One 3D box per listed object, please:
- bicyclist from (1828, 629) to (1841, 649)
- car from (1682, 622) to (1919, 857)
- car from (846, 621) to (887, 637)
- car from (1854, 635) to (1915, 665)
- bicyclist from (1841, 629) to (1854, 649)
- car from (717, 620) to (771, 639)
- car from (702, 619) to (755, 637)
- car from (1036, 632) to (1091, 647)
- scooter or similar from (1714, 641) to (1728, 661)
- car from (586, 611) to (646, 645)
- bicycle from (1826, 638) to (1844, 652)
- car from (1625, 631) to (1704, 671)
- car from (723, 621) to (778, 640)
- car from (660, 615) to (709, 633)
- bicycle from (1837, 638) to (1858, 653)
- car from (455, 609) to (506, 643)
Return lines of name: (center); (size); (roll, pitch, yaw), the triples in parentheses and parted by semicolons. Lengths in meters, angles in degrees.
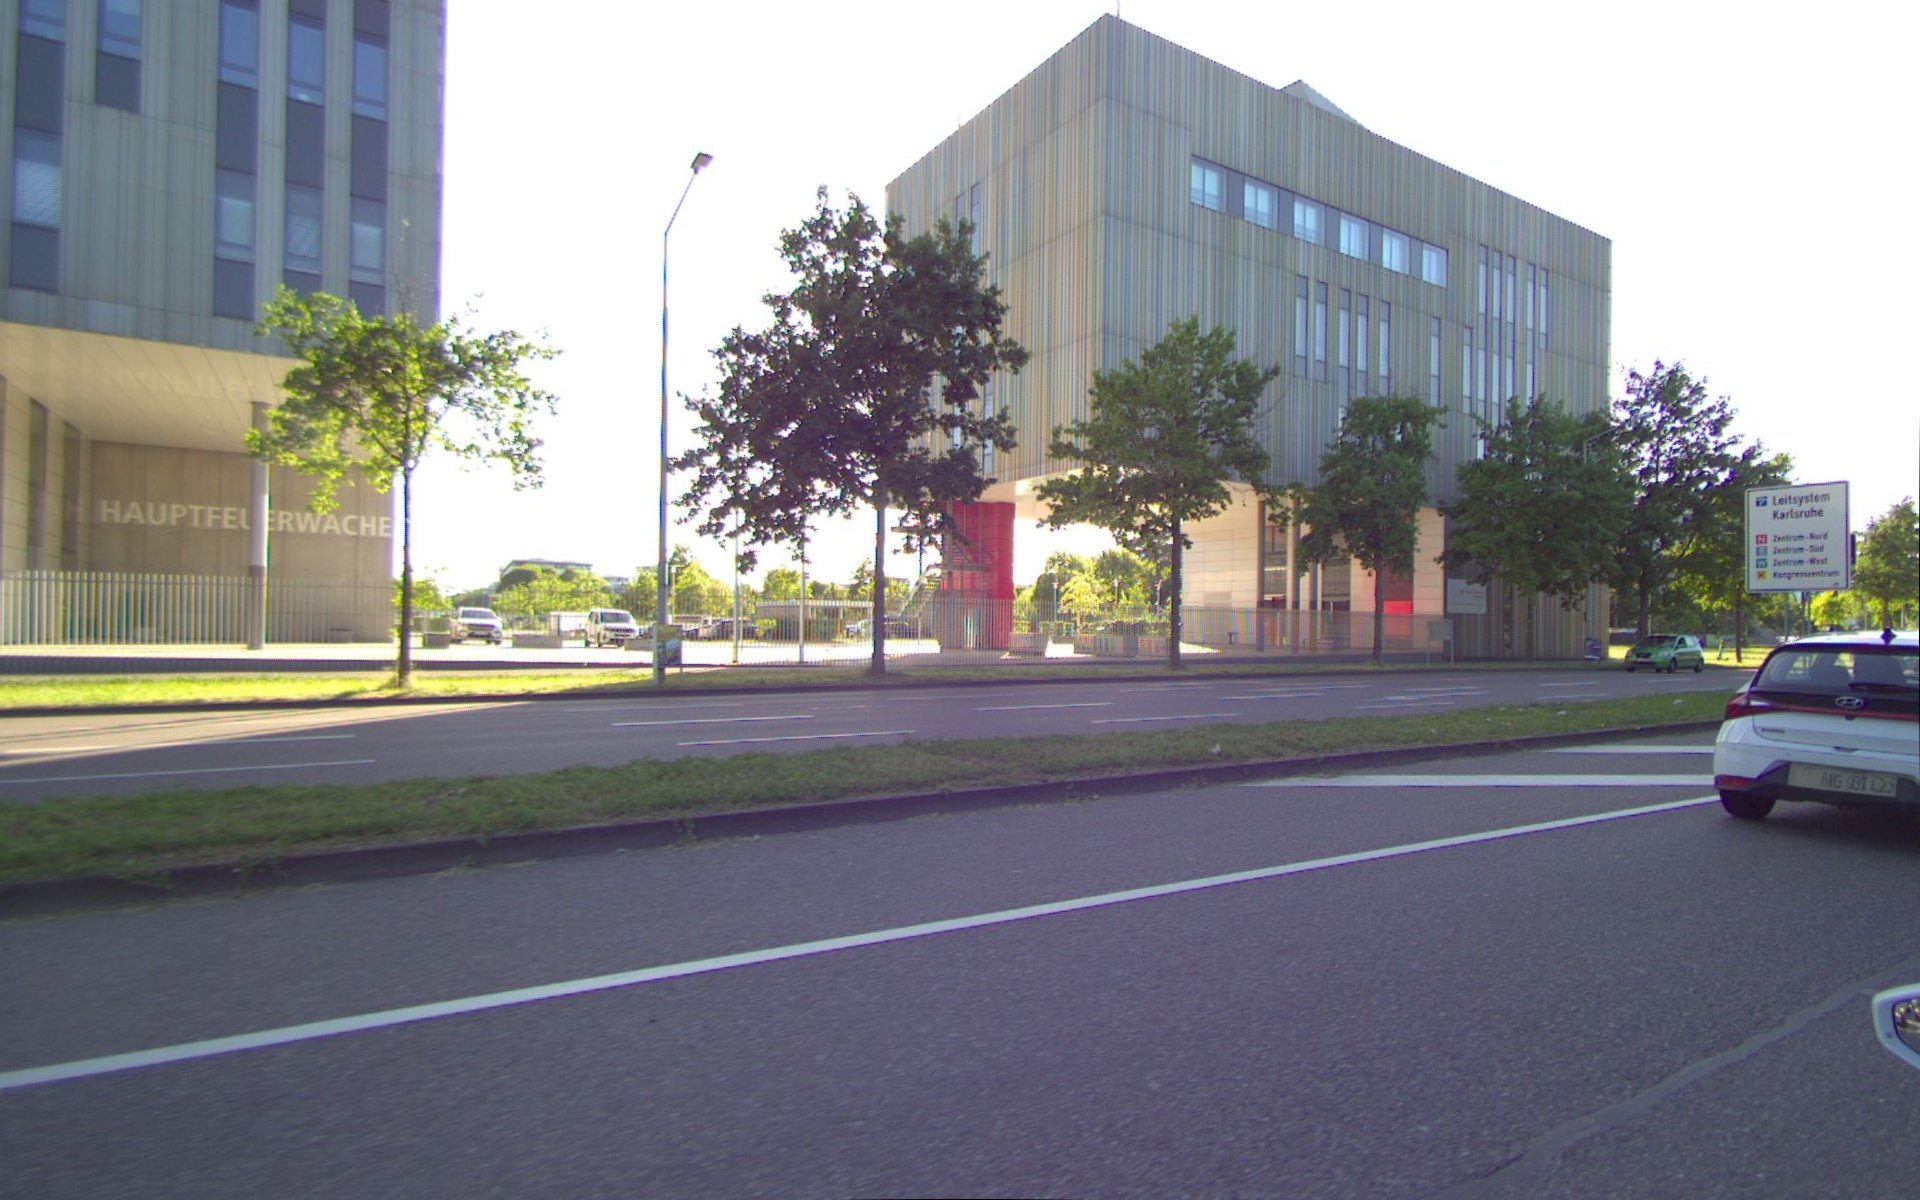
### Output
bicyclist: (62.659, 2.800, 71.984); (0.835, 1.413, 0.479); (2, -1, -34)
car: (7.471, 0.918, 7.661); (4.028, 1.427, 1.769); (1, 0, -31)
car: (-8.442, 2.587, 90.534); (3.408, 1.401, 1.421); (2, -1, -35)
car: (49.488, 2.668, 53.739); (3.985, 1.528, 1.541); (1, -1, -34)
bicyclist: (62.506, 2.760, 70.736); (0.739, 1.410, 0.559); (2, -1, -33)
car: (-14.723, 2.031, 68.544); (3.348, 1.275, 1.354); (1, -1, -34)
car: (-16.171, 1.967, 70.307); (3.348, 1.275, 1.354); (1, -1, -34)
car: (6.702, 2.526, 64.907); (3.404, 0.926, 1.422); (2, -1, -32)
scooter or similar: (44.573, 2.986, 58.837); (1.313, 1.164, 0.230); (2, -1, -32)
car: (-16.572, 1.320, 48.220); (1.912, 1.523, 4.367); (1, -1, -30)
bicycle: (62.785, 3.243, 72.065); (2.074, 1.016, 0.484); (2, -1, -34)
car: (27.629, 1.970, 39.375); (3.424, 1.455, 1.437); (1, -1, -34)
car: (-14.035, 2.047, 67.186); (3.348, 1.275, 1.354); (1, -1, -34)
car: (-20.943, 1.827, 76.433); (3.348, 1.275, 1.354); (1, -1, -34)
bicycle: (62.518, 3.216, 70.741); (2.074, 1.016, 0.566); (2, -2, -34)
car: (-21.598, 1.145, 45.188); (1.741, 1.472, 4.236); (1, -1, -30)
